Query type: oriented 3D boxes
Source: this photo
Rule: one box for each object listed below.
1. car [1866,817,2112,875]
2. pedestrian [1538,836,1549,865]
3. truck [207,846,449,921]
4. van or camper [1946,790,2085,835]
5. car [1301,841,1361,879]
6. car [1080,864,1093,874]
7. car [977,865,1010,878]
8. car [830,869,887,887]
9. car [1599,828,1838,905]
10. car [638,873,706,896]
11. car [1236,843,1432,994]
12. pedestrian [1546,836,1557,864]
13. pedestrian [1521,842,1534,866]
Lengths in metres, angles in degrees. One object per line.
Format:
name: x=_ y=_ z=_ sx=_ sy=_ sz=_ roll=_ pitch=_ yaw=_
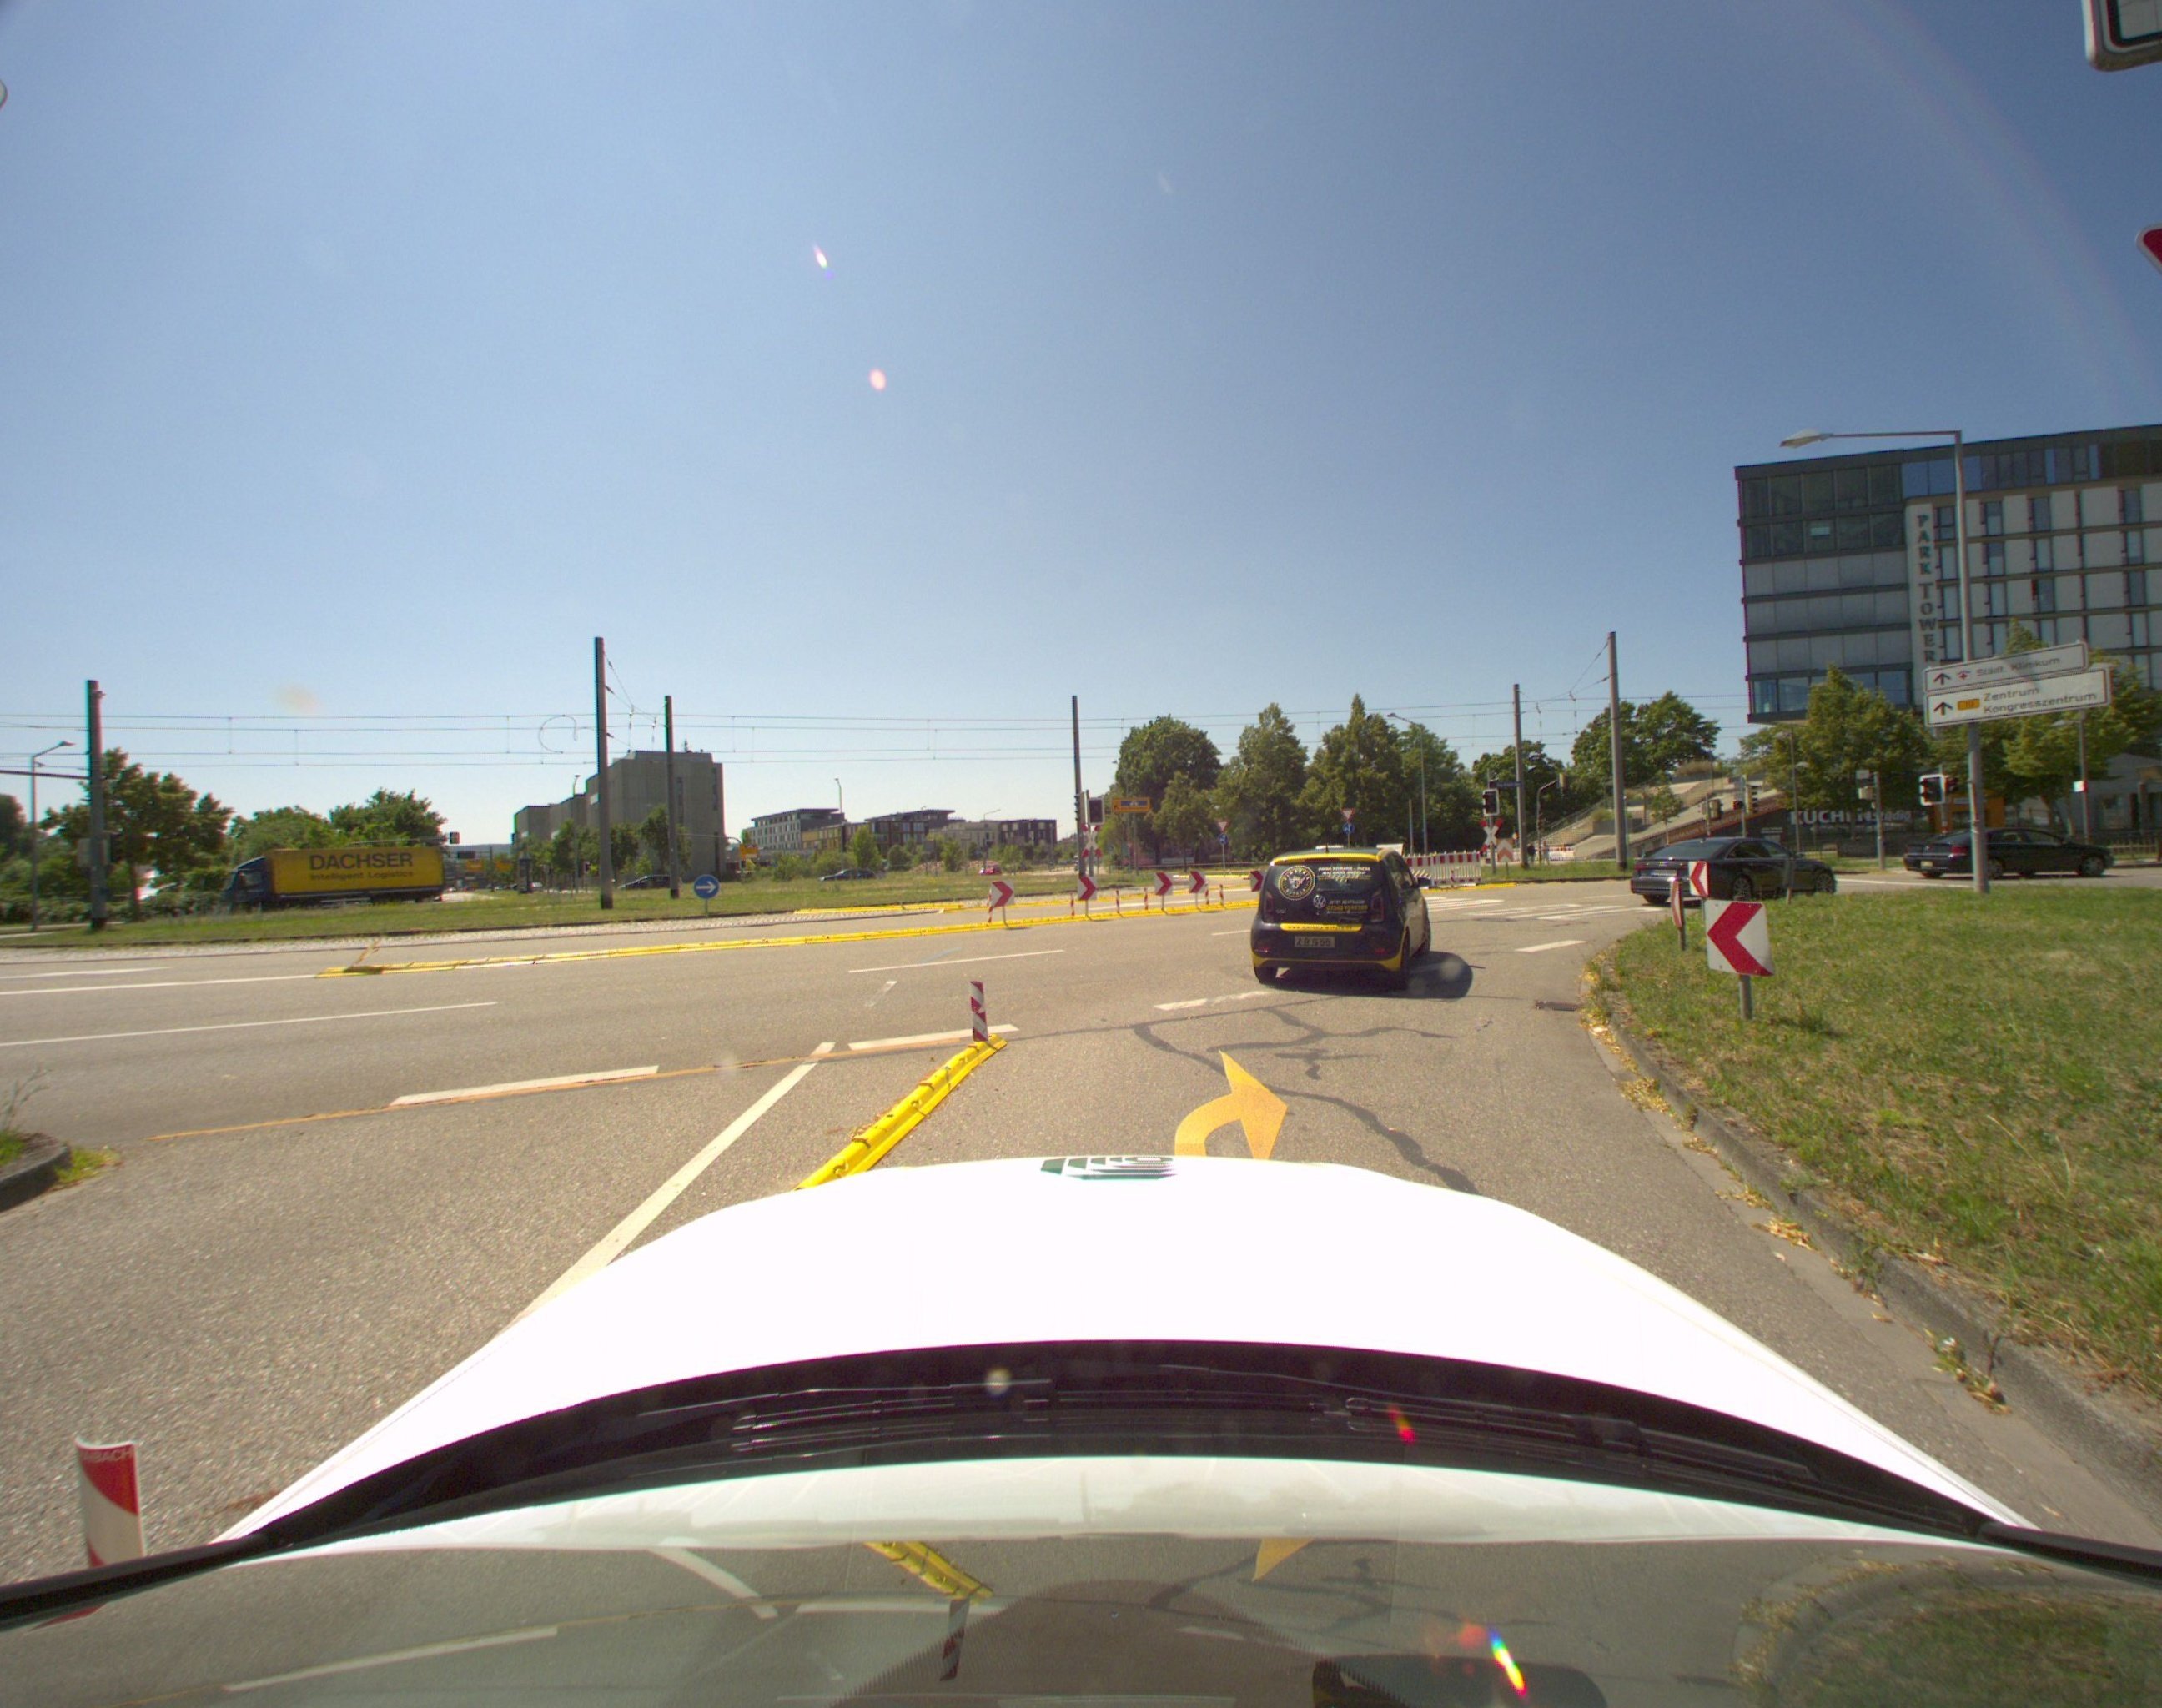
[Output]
car: x=25.723 y=-0.204 z=23.205 sx=4.726 sy=1.449 sz=2.000 roll=-2 pitch=0 yaw=1
pedestrian: x=28.745 y=-0.215 z=50.661 sx=0.445 sy=1.739 sz=0.292 roll=-2 pitch=-1 yaw=7
truck: x=-42.453 y=1.530 z=46.414 sx=2.672 sy=3.659 sz=9.678 roll=-3 pitch=0 yaw=35
van or camper: x=67.587 y=-2.947 z=59.014 sx=6.730 sy=2.822 sz=2.387 roll=-2 pitch=0 yaw=6
car: x=10.963 y=0.247 z=35.982 sx=1.981 sy=1.486 sz=4.379 roll=-3 pitch=0 yaw=10
car: x=0.886 y=2.355 z=125.658 sx=1.650 sy=1.372 sz=3.036 roll=-3 pitch=0 yaw=5
car: x=-8.956 y=1.778 z=83.526 sx=1.478 sy=1.089 sz=3.542 roll=-3 pitch=0 yaw=30
car: x=-19.235 y=2.036 z=70.326 sx=4.488 sy=1.319 sz=1.984 roll=-3 pitch=0 yaw=-24
car: x=13.828 y=0.234 z=17.678 sx=4.652 sy=1.449 sz=1.986 roll=-1 pitch=0 yaw=-21
car: x=-29.857 y=2.208 z=59.539 sx=1.708 sy=1.461 sz=4.073 roll=-3 pitch=0 yaw=43
car: x=3.277 y=0.627 z=9.993 sx=1.603 sy=1.451 sz=4.010 roll=-2 pitch=0 yaw=27
pedestrian: x=29.226 y=-0.228 z=50.625 sx=0.445 sy=1.739 sz=0.319 roll=-2 pitch=-1 yaw=7
pedestrian: x=27.471 y=-0.004 z=50.093 sx=0.517 sy=1.429 sz=0.353 roll=-3 pitch=-1 yaw=5
